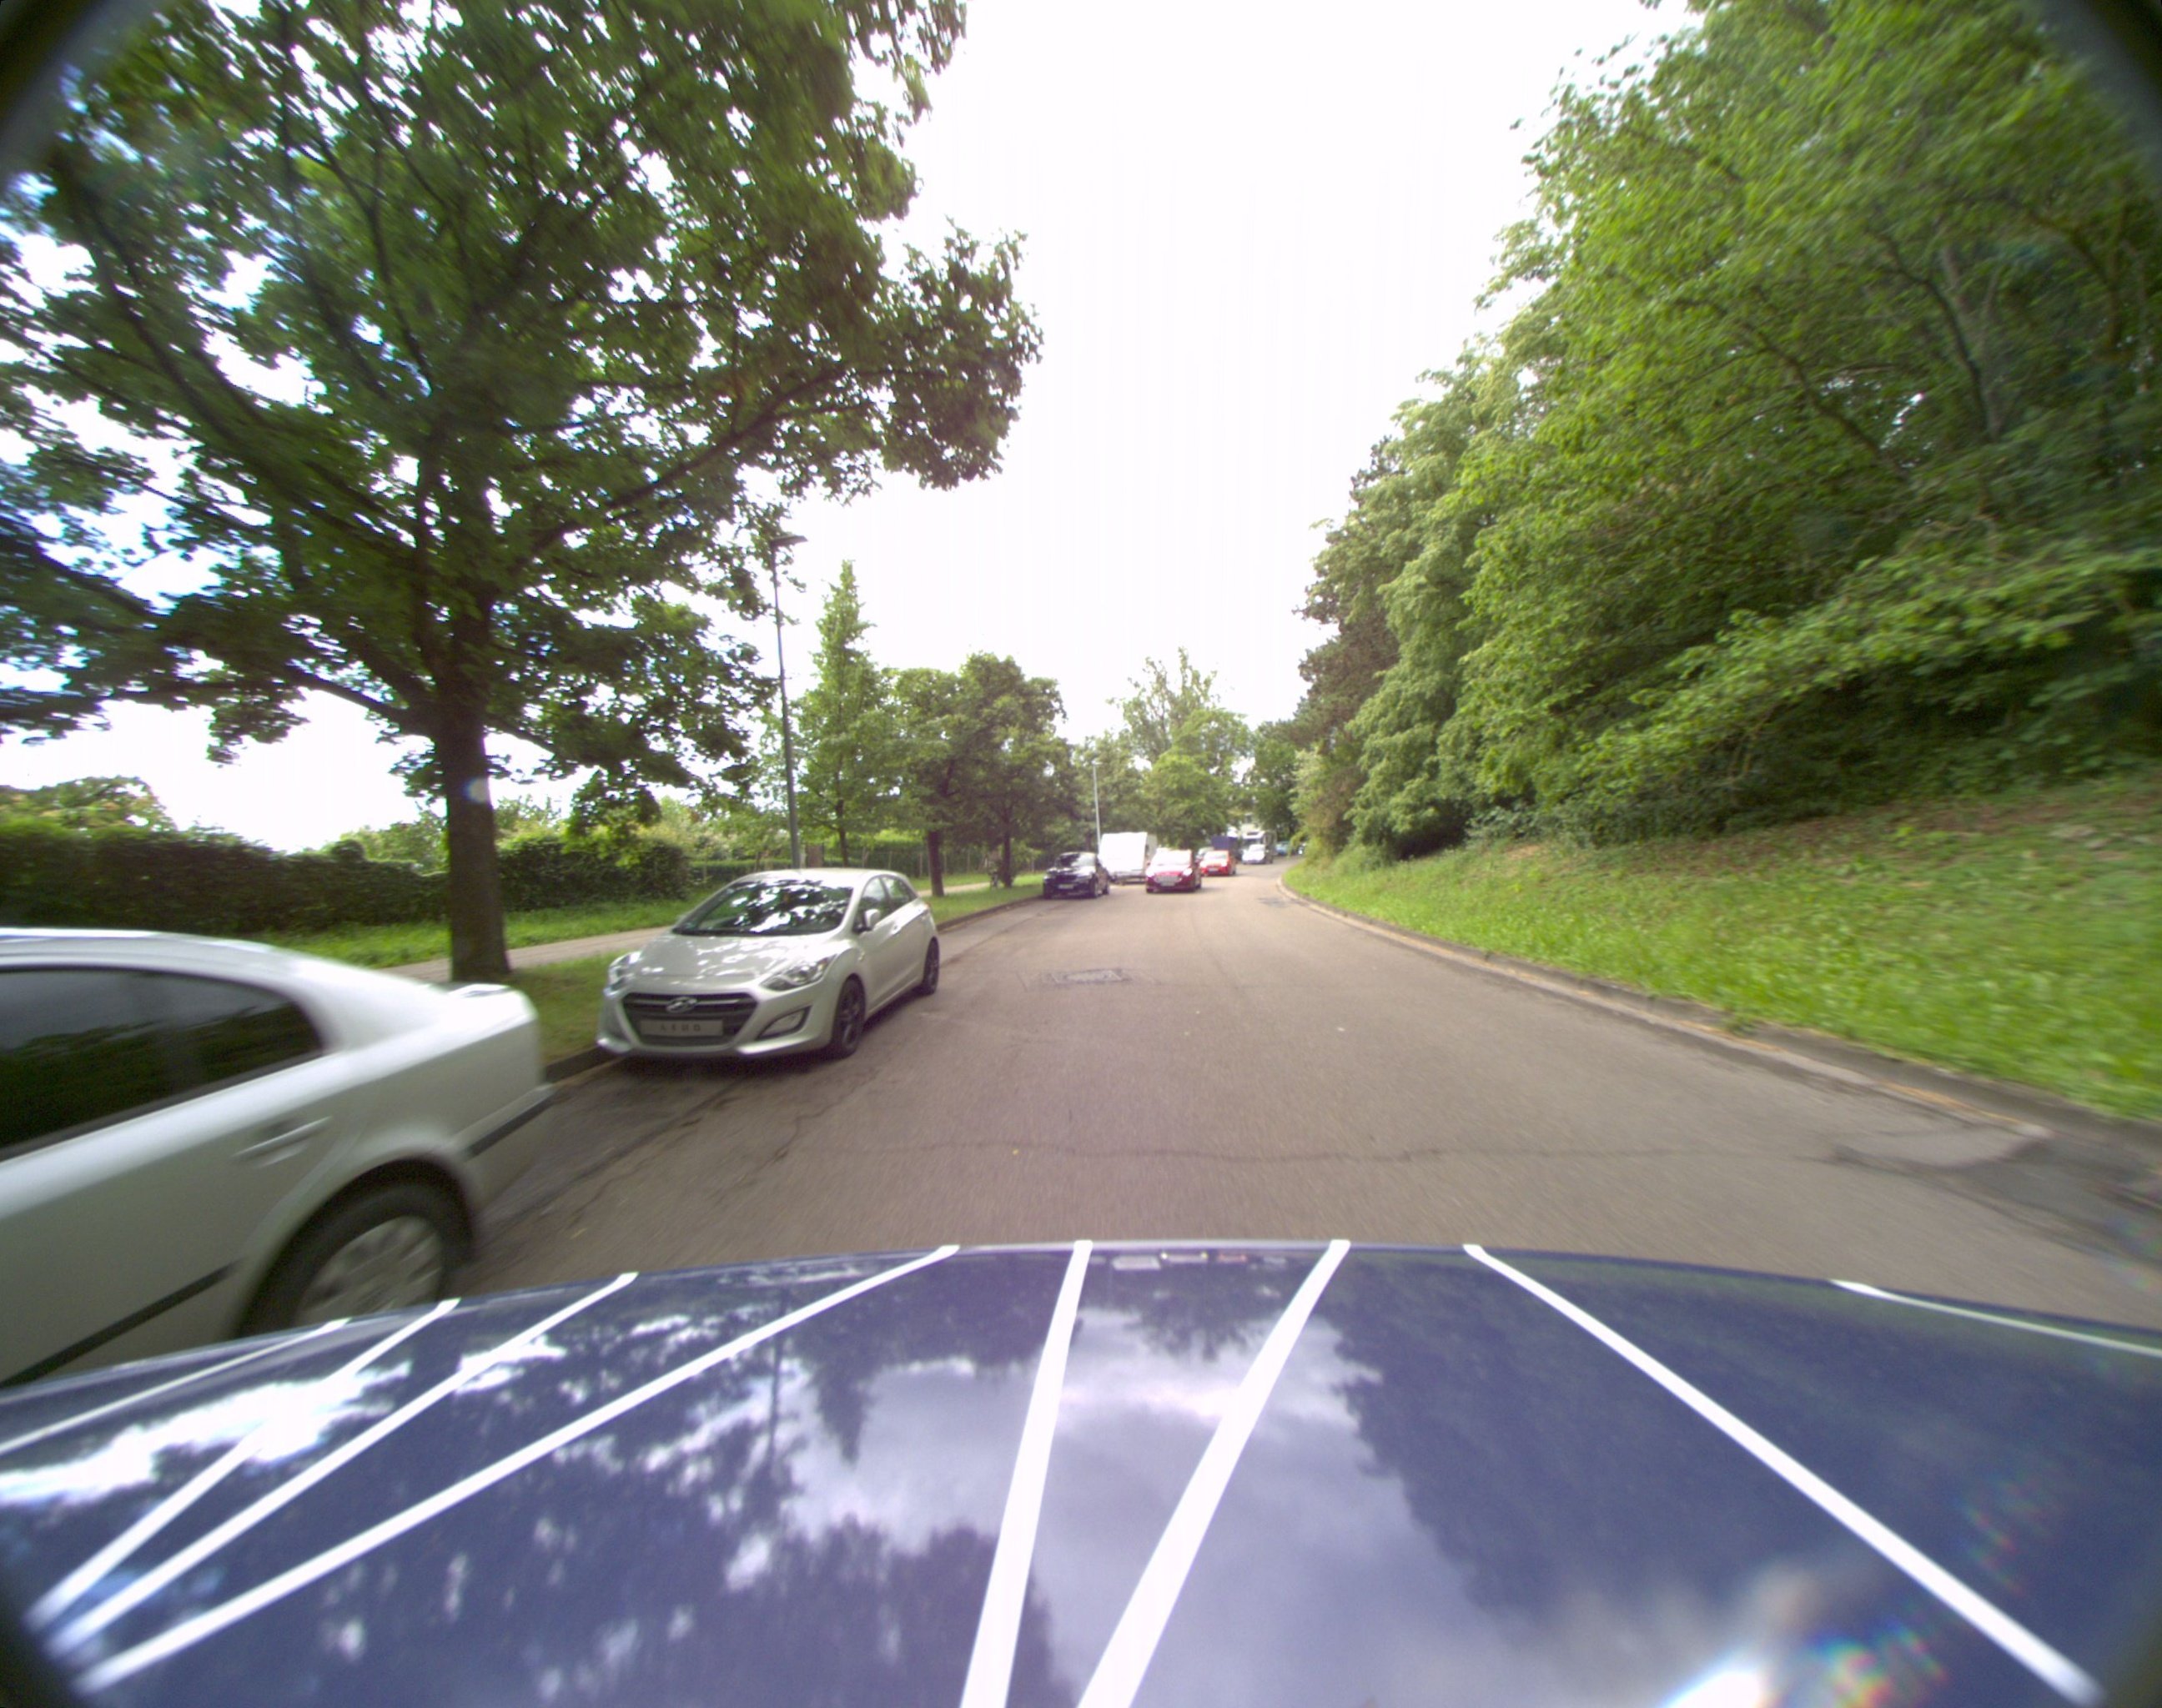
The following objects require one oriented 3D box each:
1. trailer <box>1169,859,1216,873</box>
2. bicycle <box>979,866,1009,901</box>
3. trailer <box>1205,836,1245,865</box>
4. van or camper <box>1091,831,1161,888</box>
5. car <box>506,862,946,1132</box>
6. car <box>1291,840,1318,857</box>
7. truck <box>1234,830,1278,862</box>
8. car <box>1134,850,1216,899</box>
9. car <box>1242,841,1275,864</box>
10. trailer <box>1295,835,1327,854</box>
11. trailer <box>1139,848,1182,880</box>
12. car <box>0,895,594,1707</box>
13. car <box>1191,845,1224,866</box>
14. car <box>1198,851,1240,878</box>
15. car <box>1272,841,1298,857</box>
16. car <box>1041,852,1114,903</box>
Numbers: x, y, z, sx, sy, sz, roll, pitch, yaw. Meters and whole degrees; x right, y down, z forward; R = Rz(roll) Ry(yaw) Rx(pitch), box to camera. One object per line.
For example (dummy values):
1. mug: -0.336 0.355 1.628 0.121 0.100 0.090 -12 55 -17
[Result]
1. trailer: 8.064 0.826 54.571 2.106 0.647 6.409 -3 1 19
2. bicycle: -3.480 1.166 30.596 0.535 1.209 2.185 -3 2 10
3. trailer: 12.270 -0.273 64.503 2.108 2.348 4.710 0 0 27
4. van or camper: 2.359 0.197 37.839 2.164 2.521 6.037 -3 1 15
5. car: -2.677 0.969 6.983 1.907 1.468 4.058 -3 2 2
6. car: 23.268 -0.616 79.113 1.765 1.509 4.006 -3 1 30
7. truck: 17.203 -0.803 74.321 2.305 2.916 7.045 -1 1 29
8. car: 3.862 0.765 30.365 1.995 1.619 4.632 -3 1 23
9. car: 14.413 -0.171 61.650 1.919 1.672 4.005 0 3 23
10. trailer: 27.673 -1.144 91.182 1.995 1.922 5.902 -2 3 33
11. trailer: 4.946 0.563 46.684 1.774 1.721 4.655 -1 2 17
12. car: -2.962 0.983 0.904 1.745 1.516 4.634 -1 1 0
13. car: 10.053 0.101 60.215 1.731 1.513 3.411 -2 -1 25
14. car: 8.094 0.647 44.328 1.864 1.440 4.183 -1 -2 17
15. car: 22.412 -0.534 83.222 1.696 1.538 3.774 -2 1 32
16. car: -0.028 0.792 27.895 1.851 1.633 4.533 -2 0 10
